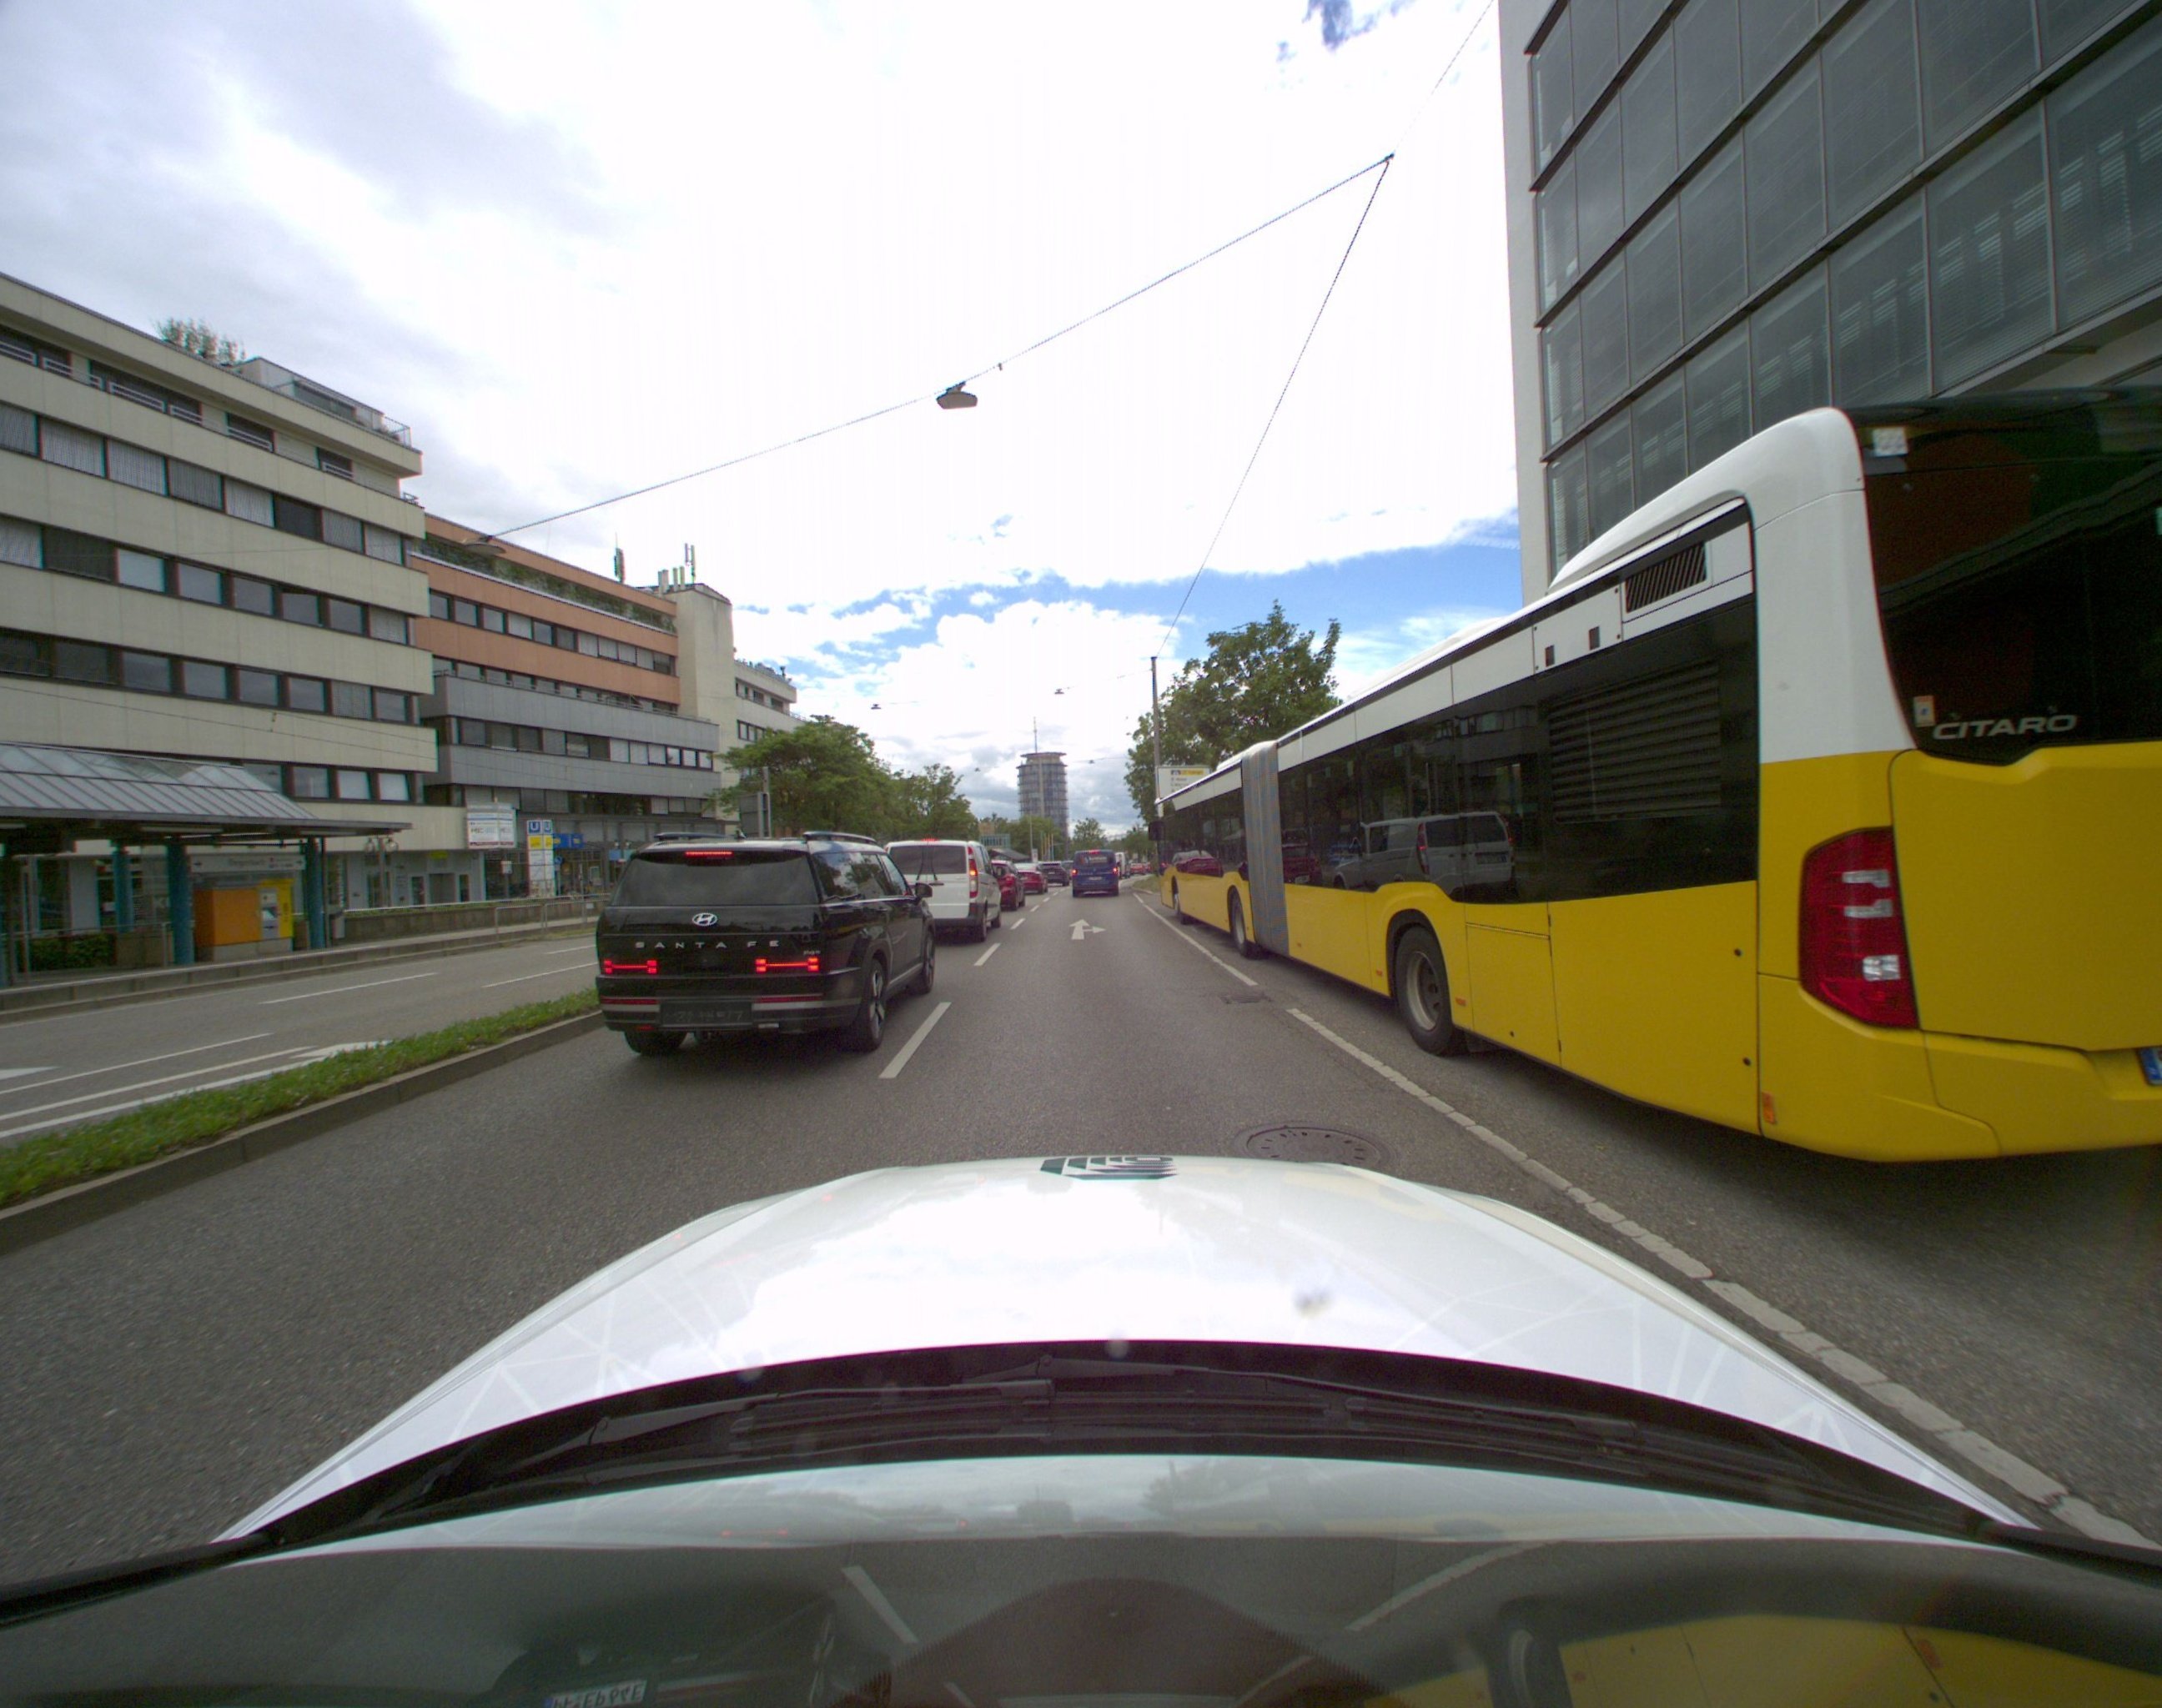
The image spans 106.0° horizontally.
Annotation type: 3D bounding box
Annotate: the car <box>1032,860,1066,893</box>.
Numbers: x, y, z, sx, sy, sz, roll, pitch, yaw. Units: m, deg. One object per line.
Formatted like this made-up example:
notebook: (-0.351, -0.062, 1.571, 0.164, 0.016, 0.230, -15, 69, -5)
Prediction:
car: (-2.049, 1.445, 53.202, 1.987, 2.013, 4.000, -1, 0, 0)

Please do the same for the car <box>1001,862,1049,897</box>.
car: (-2.554, 1.196, 38.151, 1.862, 1.486, 3.999, -3, -2, 0)

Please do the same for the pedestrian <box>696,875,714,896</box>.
pedestrian: (-28.332, 2.352, 61.381, 0.905, 1.527, 0.841, -3, 0, -42)

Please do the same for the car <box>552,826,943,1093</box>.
car: (-2.615, 0.698, 7.780, 1.917, 1.751, 4.675, -1, 0, -2)

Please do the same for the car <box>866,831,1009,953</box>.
car: (-2.717, 0.652, 16.668, 1.867, 2.013, 5.076, -3, 0, 1)

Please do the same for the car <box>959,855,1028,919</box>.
car: (-2.669, 1.026, 25.660, 1.742, 1.723, 3.996, -4, -1, -2)

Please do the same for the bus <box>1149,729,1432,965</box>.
bus: (3.354, -0.096, 16.064, 2.706, 3.163, 9.118, -4, 0, -3)

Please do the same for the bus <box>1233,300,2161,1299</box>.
bus: (3.691, -0.228, 7.044, 2.705, 3.108, 8.863, -3, 0, -2)

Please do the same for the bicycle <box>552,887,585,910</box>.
bicycle: (-31.287, 2.711, 49.727, 1.949, 1.319, 0.710, -3, -1, 25)

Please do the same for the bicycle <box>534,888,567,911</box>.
bicycle: (-31.846, 2.742, 48.906, 1.949, 1.319, 0.710, -3, -1, 25)

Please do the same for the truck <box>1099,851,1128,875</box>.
truck: (3.140, 0.873, 77.516, 1.981, 2.166, 5.573, -1, -1, 9)

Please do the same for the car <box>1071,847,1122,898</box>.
car: (0.619, 0.773, 34.337, 1.941, 1.965, 4.541, -2, -1, 0)
